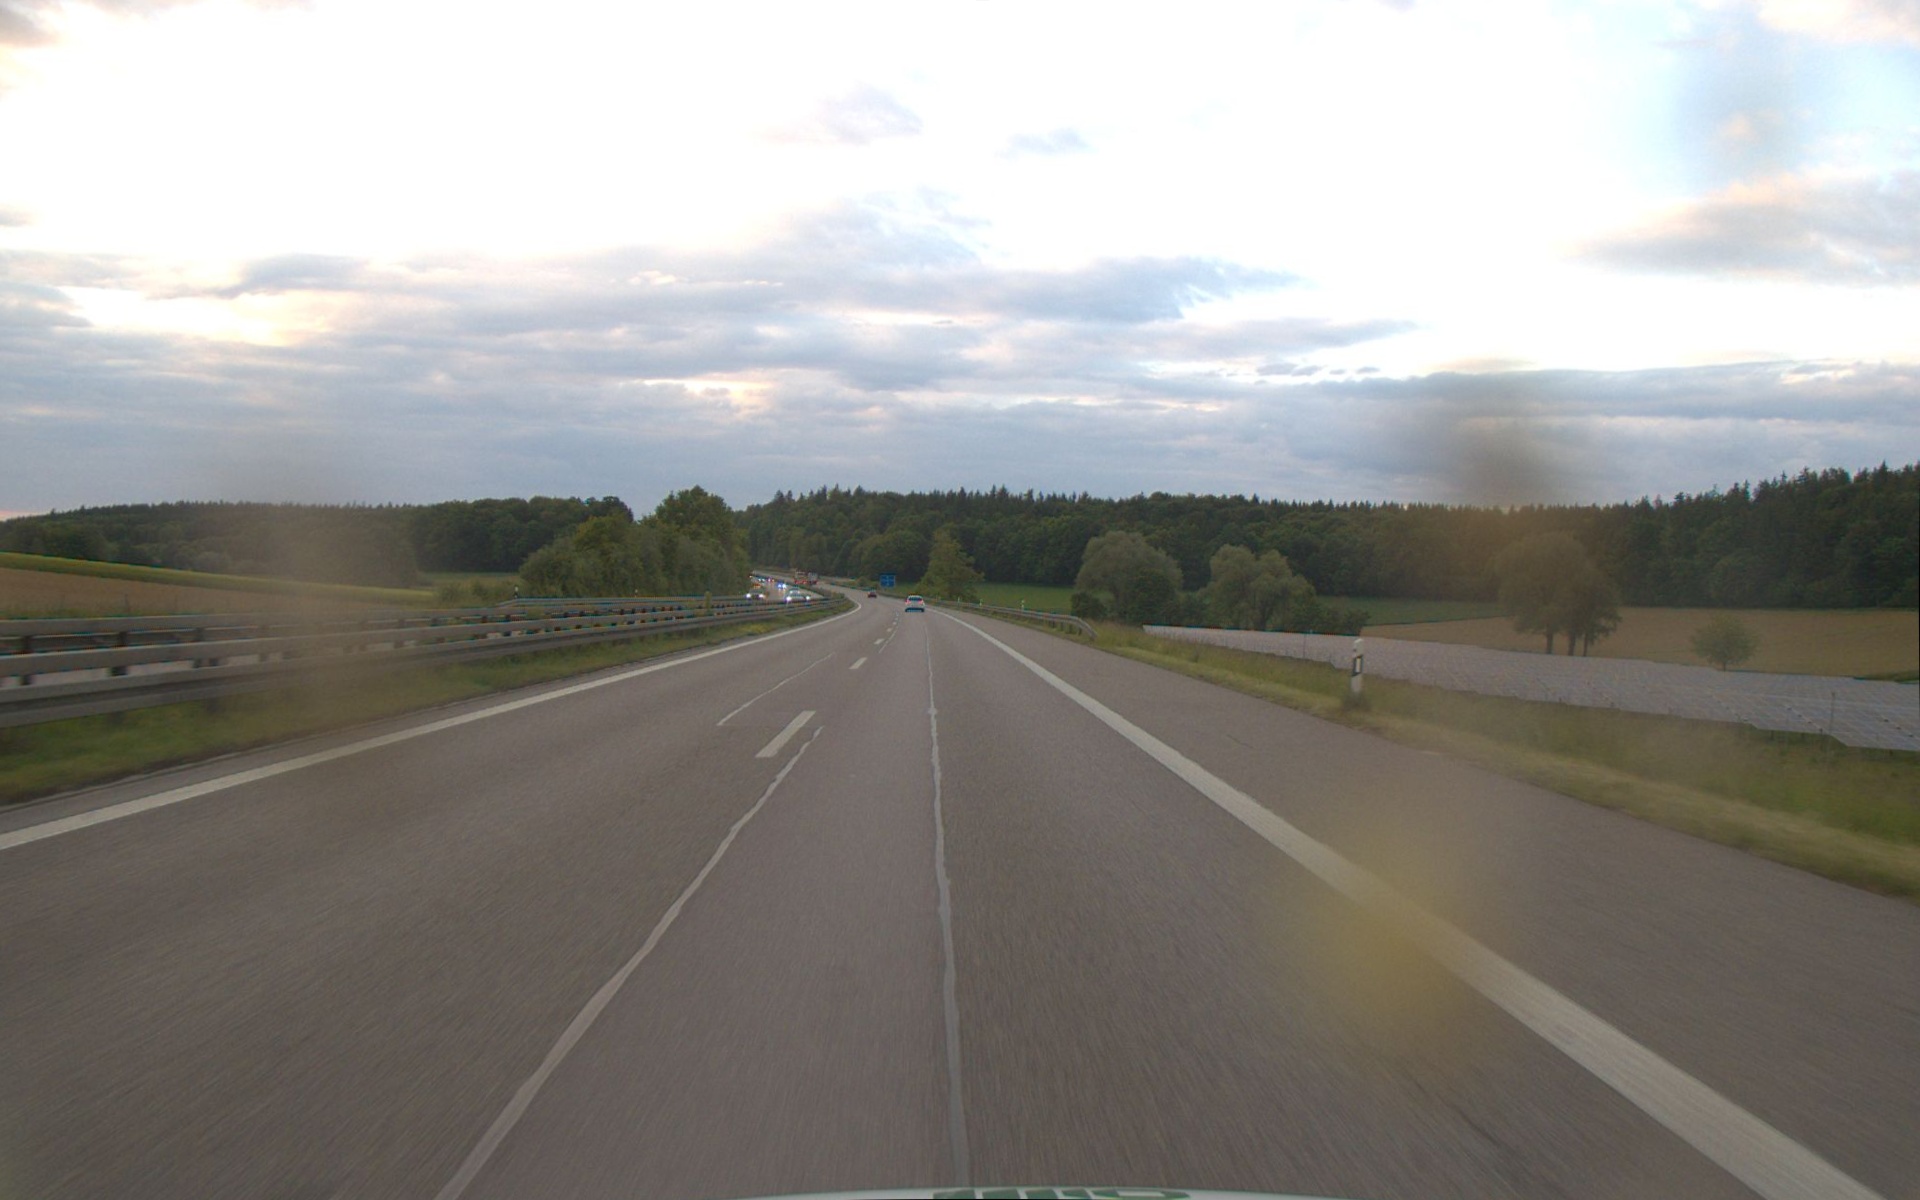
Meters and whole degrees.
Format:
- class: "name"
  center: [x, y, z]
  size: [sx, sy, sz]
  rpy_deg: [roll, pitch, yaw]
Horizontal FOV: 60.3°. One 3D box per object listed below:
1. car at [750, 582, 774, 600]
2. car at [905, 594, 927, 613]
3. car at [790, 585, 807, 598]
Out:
- class: "car"
  center: [-21.580, -0.985, 180.564]
  size: [1.848, 1.723, 5.767]
  rpy_deg: [4, 0, -1]
- class: "car"
  center: [-4.078, 0.338, 153.592]
  size: [1.913, 1.558, 4.078]
  rpy_deg: [4, 0, -3]
- class: "car"
  center: [-18.344, -0.982, 188.235]
  size: [1.535, 1.389, 4.619]
  rpy_deg: [4, 1, -1]
